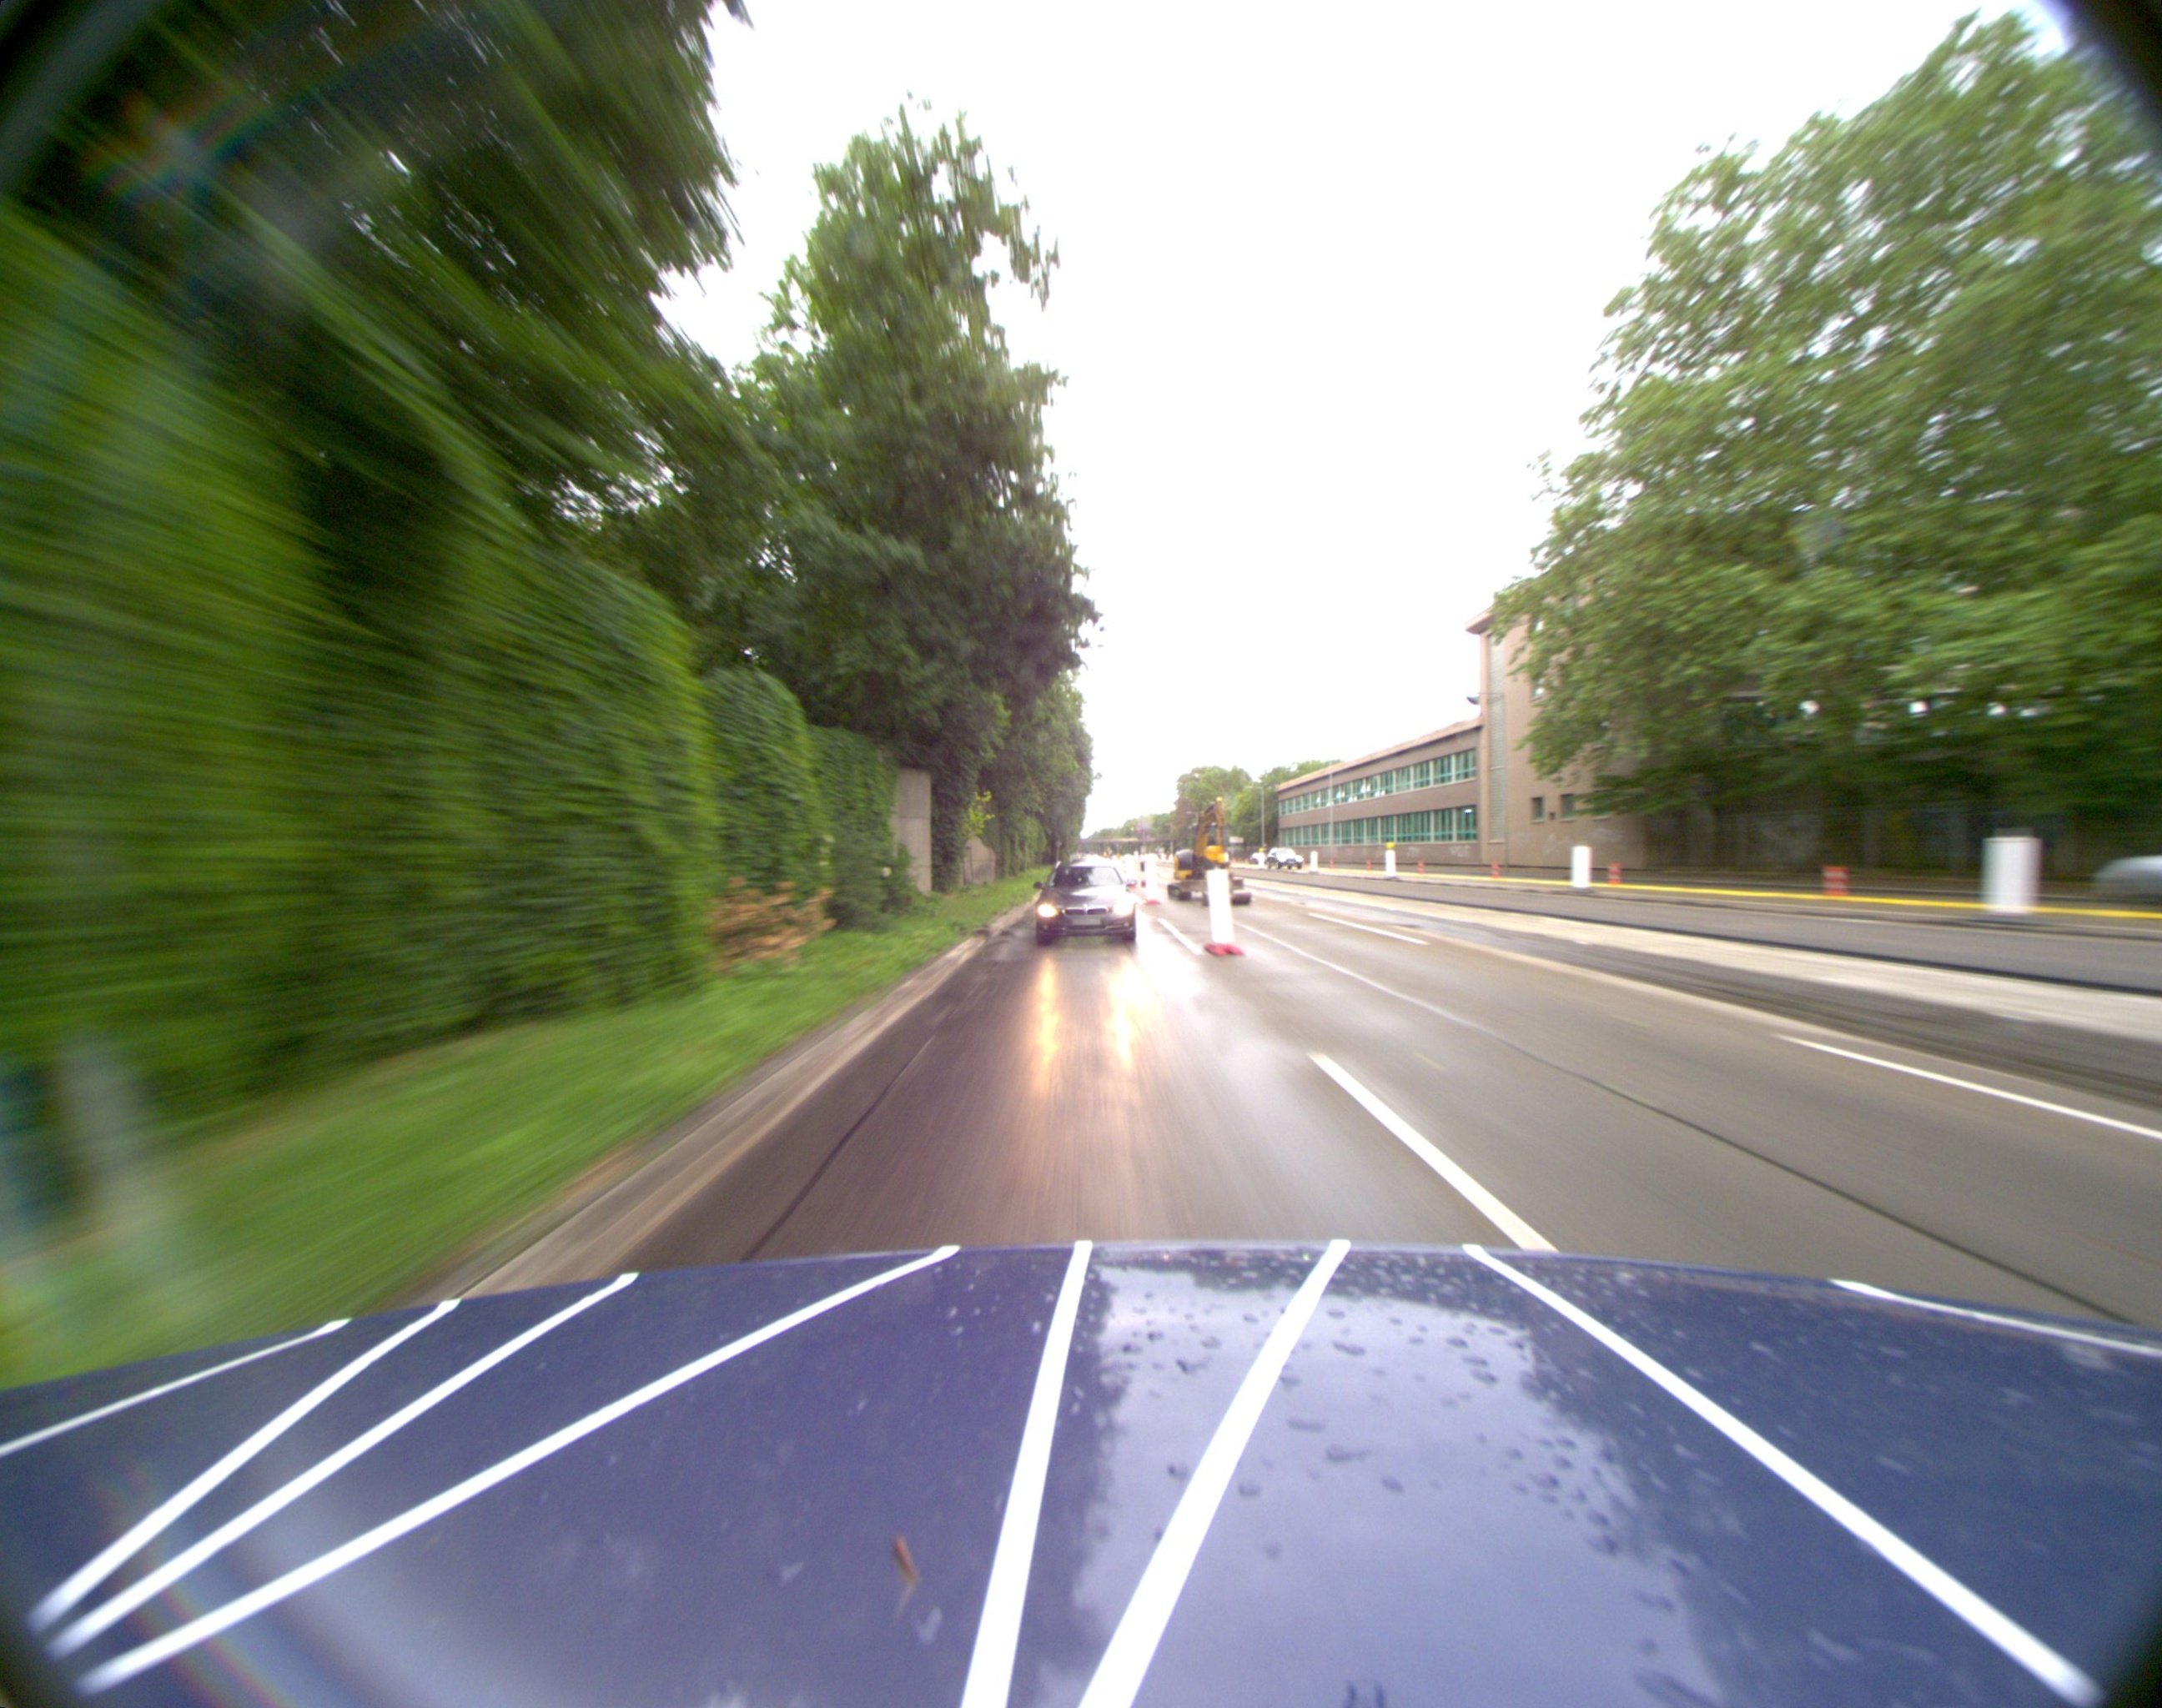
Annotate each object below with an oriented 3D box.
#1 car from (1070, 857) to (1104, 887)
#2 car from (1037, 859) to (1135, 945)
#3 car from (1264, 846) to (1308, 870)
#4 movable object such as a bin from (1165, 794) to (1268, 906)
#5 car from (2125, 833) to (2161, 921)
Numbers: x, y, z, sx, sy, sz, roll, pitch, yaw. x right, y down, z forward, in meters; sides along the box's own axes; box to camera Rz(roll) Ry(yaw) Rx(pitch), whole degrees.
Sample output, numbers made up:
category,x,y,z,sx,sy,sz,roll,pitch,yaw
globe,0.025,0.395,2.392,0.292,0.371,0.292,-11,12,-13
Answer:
category,x,y,z,sx,sy,sz,roll,pitch,yaw
car,0.362,0.942,42.122,1.742,1.454,4.458,-1,0,1
car,0.192,0.886,15.997,1.742,1.454,4.459,-1,0,3
car,15.929,0.339,59.334,1.998,1.695,4.985,3,-1,0
movable object such as a bin,4.112,-0.123,24.074,1.999,3.084,5.623,-2,1,-2
car,18.507,0.372,10.729,1.841,1.426,4.148,-1,0,1
